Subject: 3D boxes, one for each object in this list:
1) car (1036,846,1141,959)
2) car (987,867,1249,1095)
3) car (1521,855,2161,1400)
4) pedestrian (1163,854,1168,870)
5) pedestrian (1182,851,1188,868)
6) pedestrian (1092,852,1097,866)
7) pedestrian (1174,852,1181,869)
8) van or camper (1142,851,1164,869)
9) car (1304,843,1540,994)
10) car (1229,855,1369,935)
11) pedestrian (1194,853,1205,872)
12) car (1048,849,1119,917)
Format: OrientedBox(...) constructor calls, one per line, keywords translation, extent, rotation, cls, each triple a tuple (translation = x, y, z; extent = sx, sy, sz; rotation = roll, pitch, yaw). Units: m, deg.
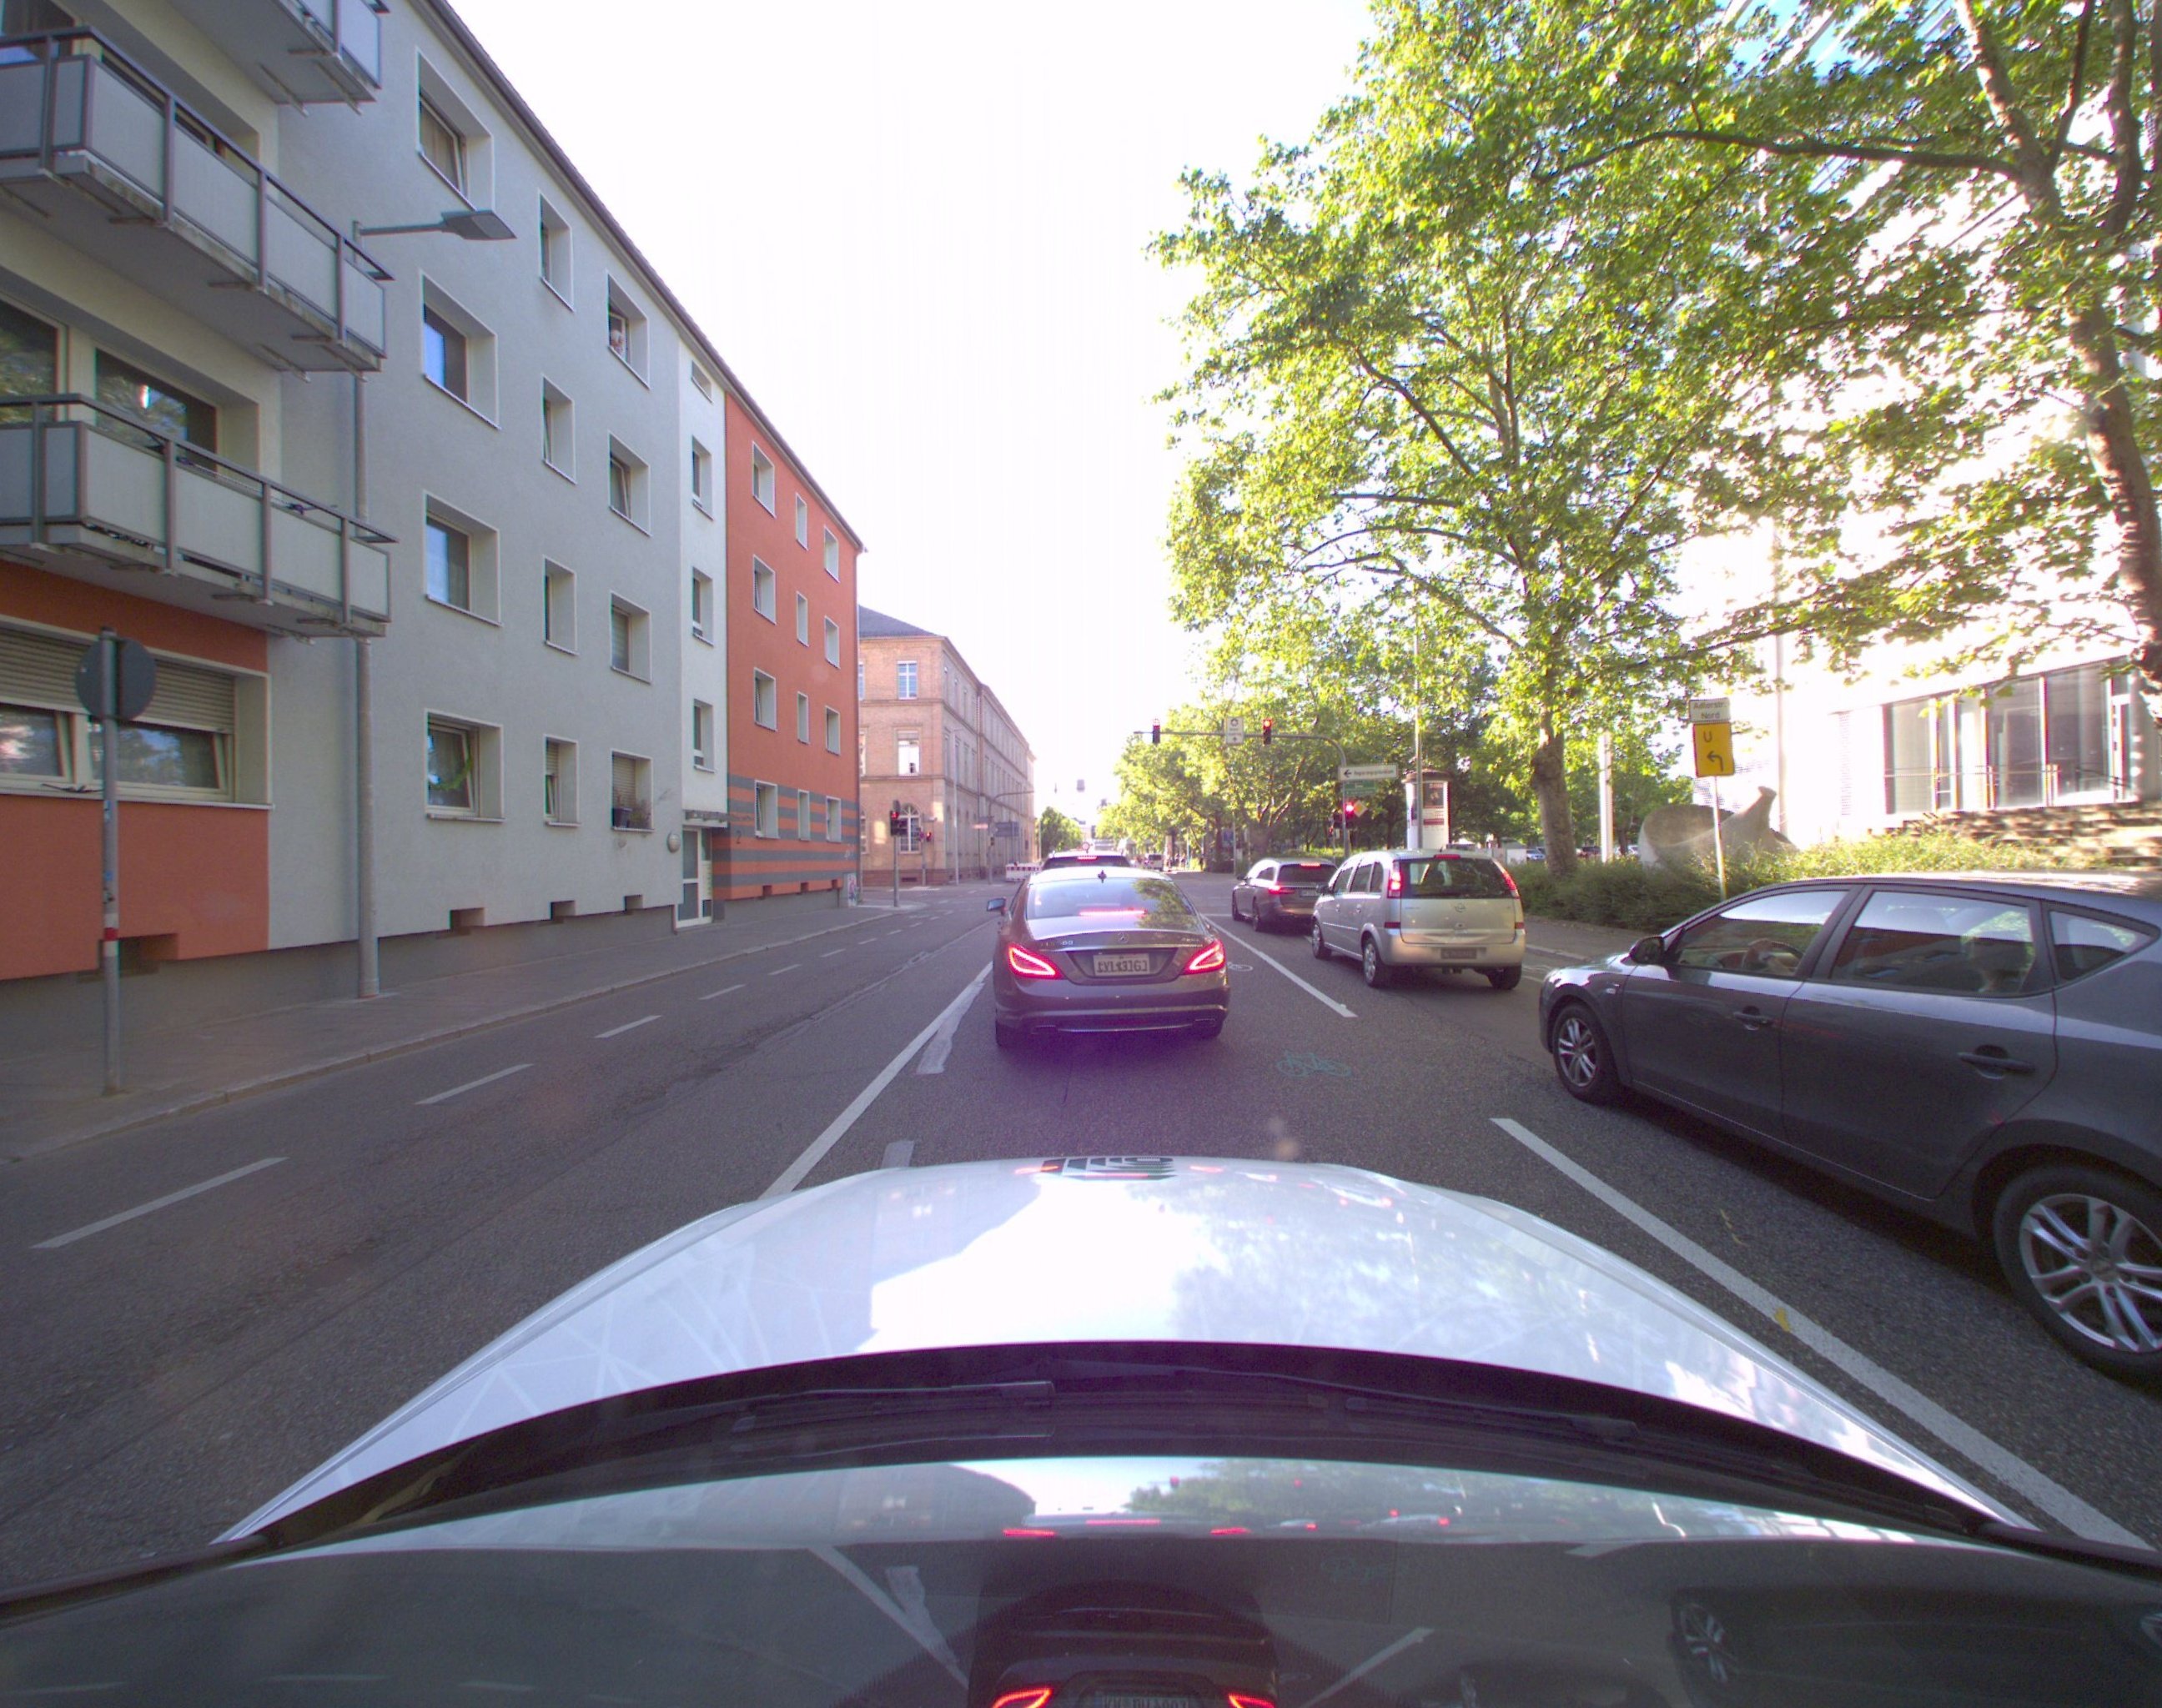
OrientedBox(translation=(0.103, 0.710, 13.842), extent=(1.513, 1.647, 3.879), rotation=(-1, 0, 0), cls="car")
OrientedBox(translation=(0.078, 0.895, 7.781), extent=(1.801, 1.456, 4.342), rotation=(-1, 0, -5), cls="car")
OrientedBox(translation=(3.812, 0.755, 3.648), extent=(1.638, 1.482, 3.978), rotation=(1, 0, 2), cls="car")
OrientedBox(translation=(10.479, 1.021, 100.589), extent=(0.537, 2.014, 0.474), rotation=(0, -1, 1), cls="pedestrian")
OrientedBox(translation=(11.156, 0.557, 87.257), extent=(0.601, 1.821, 0.652), rotation=(-1, 0, 1), cls="pedestrian")
OrientedBox(translation=(1.959, 0.695, 117.310), extent=(0.722, 2.013, 0.748), rotation=(-1, 0, -2), cls="pedestrian")
OrientedBox(translation=(10.363, 0.702, 87.432), extent=(0.601, 1.821, 0.652), rotation=(-1, 0, 1), cls="pedestrian")
OrientedBox(translation=(7.939, 0.675, 89.902), extent=(1.988, 1.941, 4.592), rotation=(-1, 0, -1), cls="van or camper")
OrientedBox(translation=(4.204, 0.698, 10.721), extent=(1.694, 1.603, 3.863), rotation=(1, 0, 4), cls="car")
OrientedBox(translation=(4.481, 0.770, 17.484), extent=(1.905, 1.464, 4.671), rotation=(1, 0, 2), cls="car")
OrientedBox(translation=(10.120, 0.717, 69.385), extent=(0.827, 1.606, 0.652), rotation=(-1, 0, 1), cls="pedestrian")
OrientedBox(translation=(0.127, 0.768, 23.377), extent=(1.813, 1.762, 4.002), rotation=(-1, 0, 2), cls="car")
